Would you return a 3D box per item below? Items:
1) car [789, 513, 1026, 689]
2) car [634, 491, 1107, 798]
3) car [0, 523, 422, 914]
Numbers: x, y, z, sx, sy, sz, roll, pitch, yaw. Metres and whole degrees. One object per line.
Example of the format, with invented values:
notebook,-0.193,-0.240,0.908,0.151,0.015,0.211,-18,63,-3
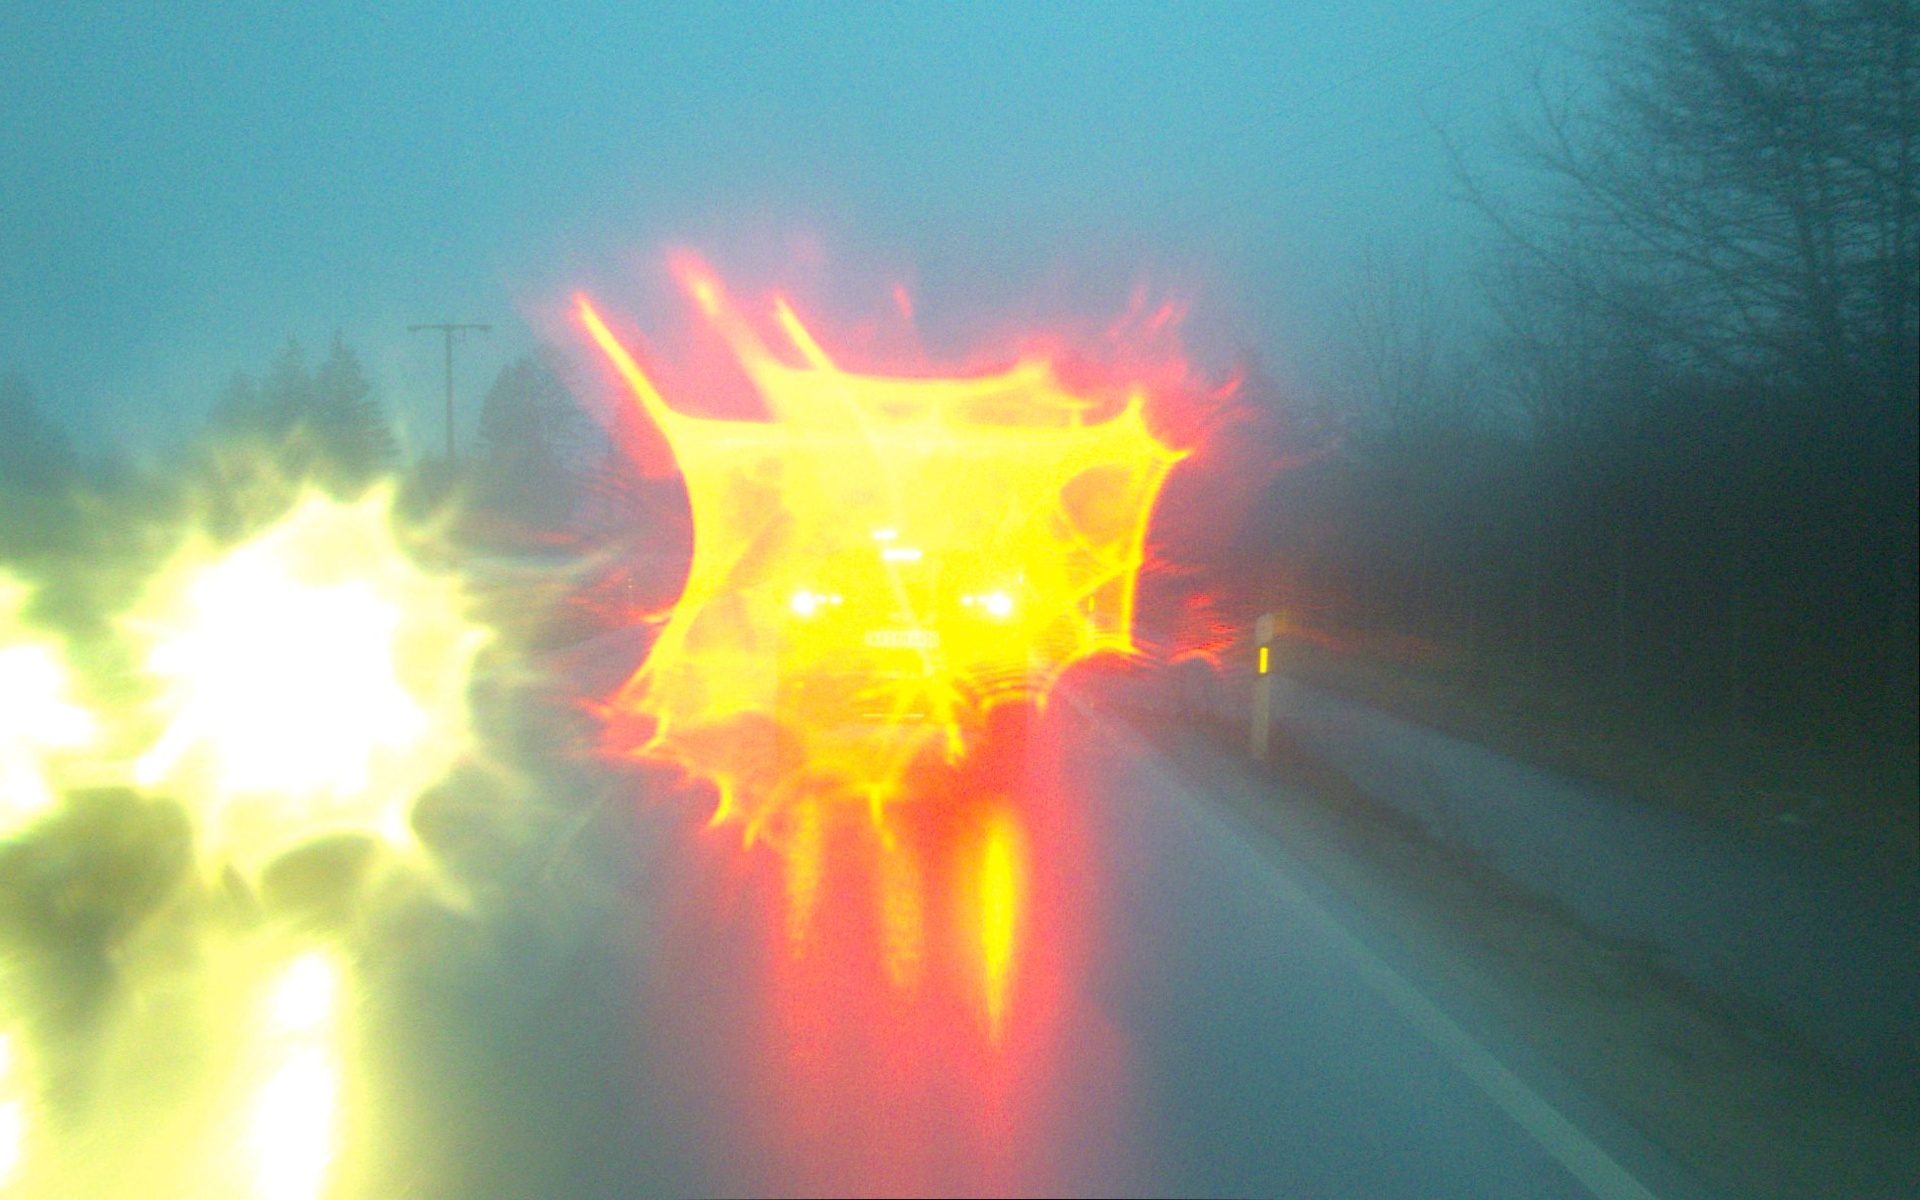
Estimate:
car,-0.634,-0.065,43.749,2.756,2.028,6.591,-1,1,0
car,-0.623,0.222,26.659,3.164,2.028,6.852,-1,1,0
car,-3.882,0.496,17.198,1.839,1.715,3.956,1,1,-1
